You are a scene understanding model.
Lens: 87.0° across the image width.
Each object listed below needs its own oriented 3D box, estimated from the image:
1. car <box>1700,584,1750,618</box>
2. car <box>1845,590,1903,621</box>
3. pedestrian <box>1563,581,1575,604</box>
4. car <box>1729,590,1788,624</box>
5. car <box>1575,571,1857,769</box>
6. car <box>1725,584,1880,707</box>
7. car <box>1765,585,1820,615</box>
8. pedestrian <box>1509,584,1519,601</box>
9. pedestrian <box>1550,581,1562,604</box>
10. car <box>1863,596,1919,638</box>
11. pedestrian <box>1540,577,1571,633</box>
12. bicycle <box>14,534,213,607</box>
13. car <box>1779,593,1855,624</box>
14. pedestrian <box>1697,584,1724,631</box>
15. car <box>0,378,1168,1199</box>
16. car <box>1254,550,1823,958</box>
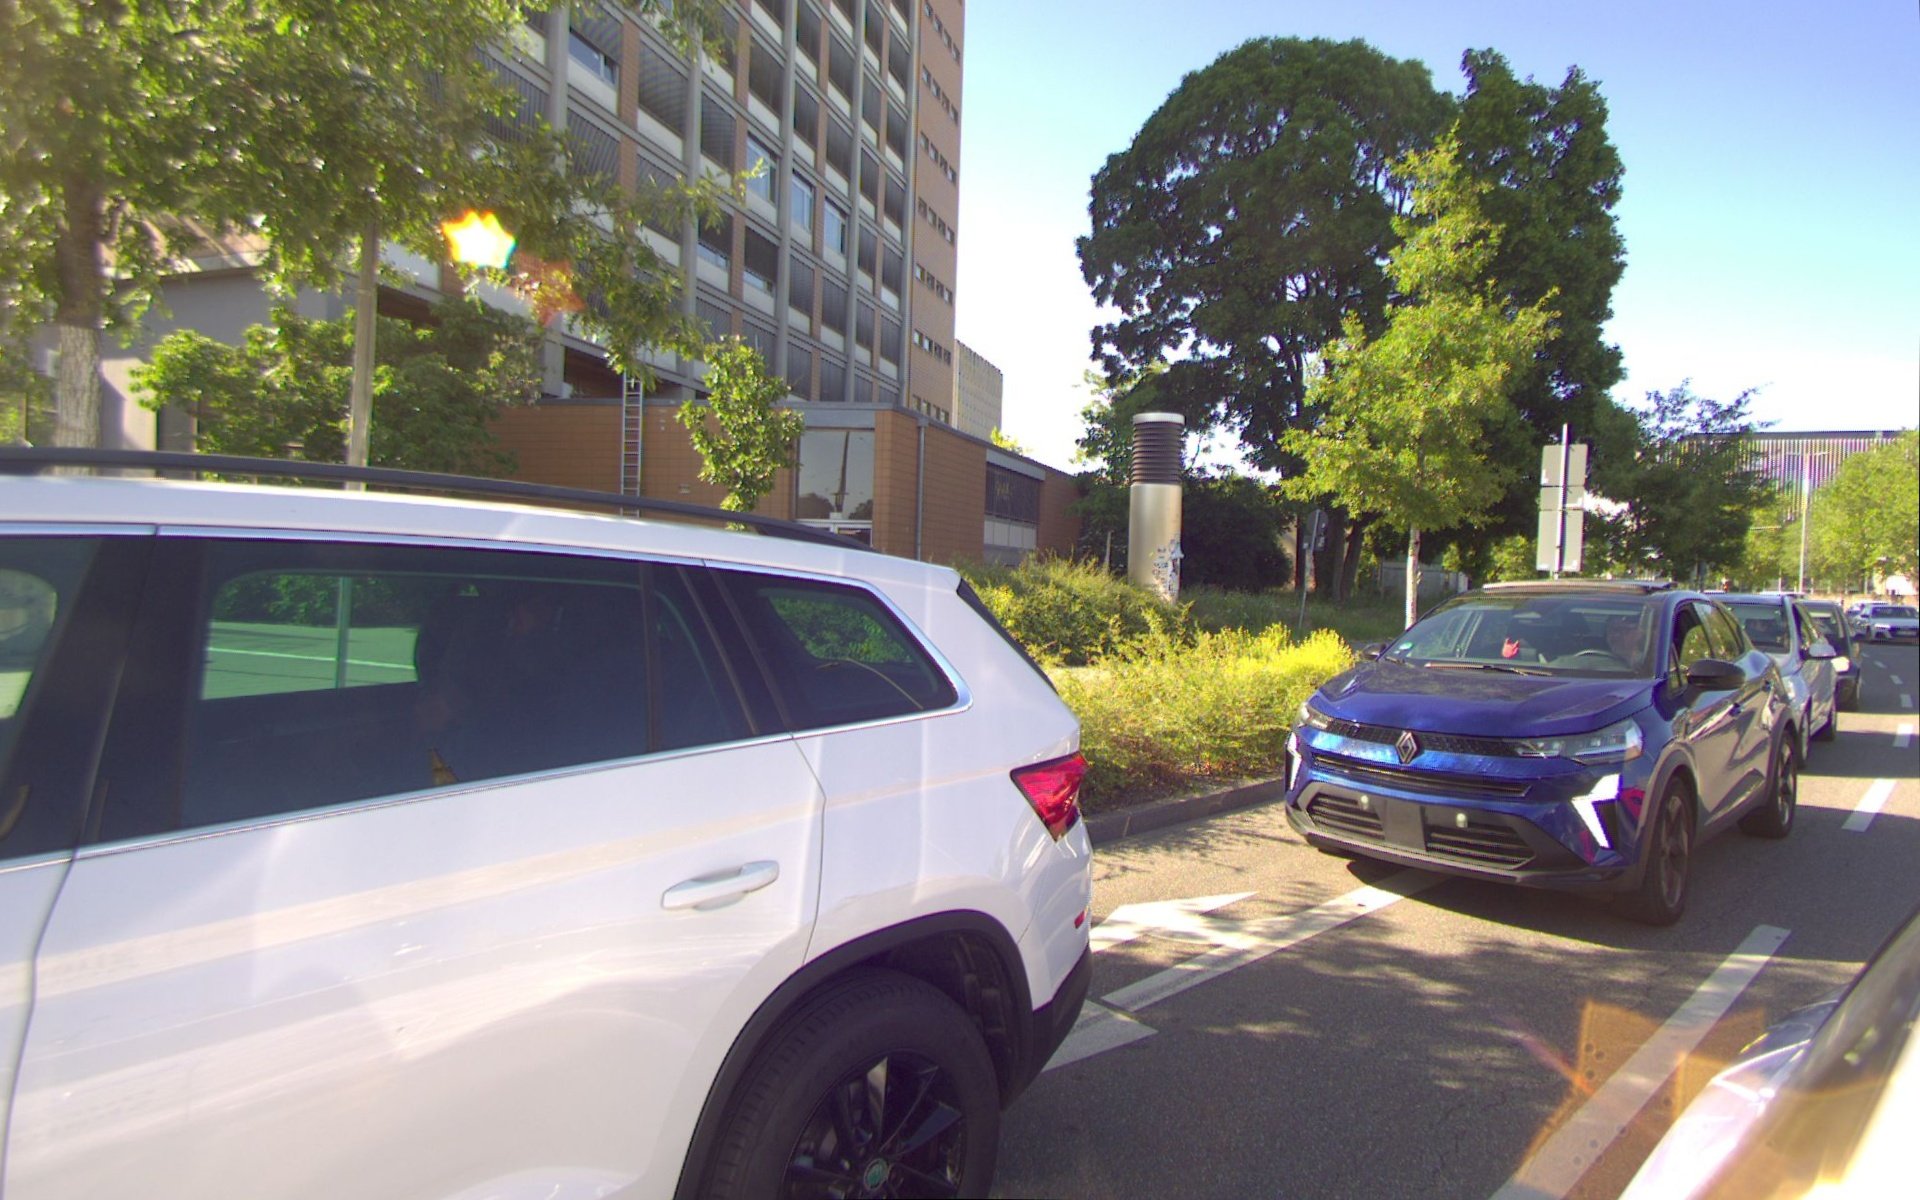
[{"bbox_3d":[44.082,0.035,58.372,1.813,1.876,3.712,2,1,30],"label":"car"},{"bbox_3d":[51.132,0.270,56.649,1.581,1.625,3.044,2,1,26],"label":"car"},{"bbox_3d":[51.635,-0.651,85.793,0.813,1.941,0.765,0,0,26],"label":"pedestrian"},{"bbox_3d":[37.162,0.296,47.185,1.739,1.494,3.534,0,1,32],"label":"car"},{"bbox_3d":[8.046,0.580,10.631,3.977,1.645,1.782,0,2,-45],"label":"car"},{"bbox_3d":[13.108,0.614,15.677,1.646,1.631,3.435,3,2,43],"label":"car"},{"bbox_3d":[58.324,-0.027,70.971,1.767,2.039,4.201,1,1,22],"label":"car"},{"bbox_3d":[61.534,-0.835,112.422,0.812,1.941,0.766,0,0,23],"label":"pedestrian"},{"bbox_3d":[50.903,-0.656,86.382,0.813,1.941,0.765,0,0,26],"label":"pedestrian"},{"bbox_3d":[34.081,0.592,36.400,1.739,1.396,3.534,1,1,32],"label":"car"},{"bbox_3d":[17.711,0.134,30.101,0.688,1.624,0.653,2,1,35],"label":"pedestrian"},{"bbox_3d":[-17.406,-0.600,20.944,0.790,1.394,3.111,2,1,26],"label":"bicycle"},{"bbox_3d":[43.182,0.402,51.081,1.862,1.500,3.967,1,1,24],"label":"car"},{"bbox_3d":[26.222,0.249,35.376,0.656,1.624,0.685,2,1,31],"label":"pedestrian"},{"bbox_3d":[-1.637,0.568,1.666,4.223,1.662,1.697,0,2,-42],"label":"car"},{"bbox_3d":[3.625,0.602,6.010,4.012,1.626,1.704,0,1,-41],"label":"car"}]
